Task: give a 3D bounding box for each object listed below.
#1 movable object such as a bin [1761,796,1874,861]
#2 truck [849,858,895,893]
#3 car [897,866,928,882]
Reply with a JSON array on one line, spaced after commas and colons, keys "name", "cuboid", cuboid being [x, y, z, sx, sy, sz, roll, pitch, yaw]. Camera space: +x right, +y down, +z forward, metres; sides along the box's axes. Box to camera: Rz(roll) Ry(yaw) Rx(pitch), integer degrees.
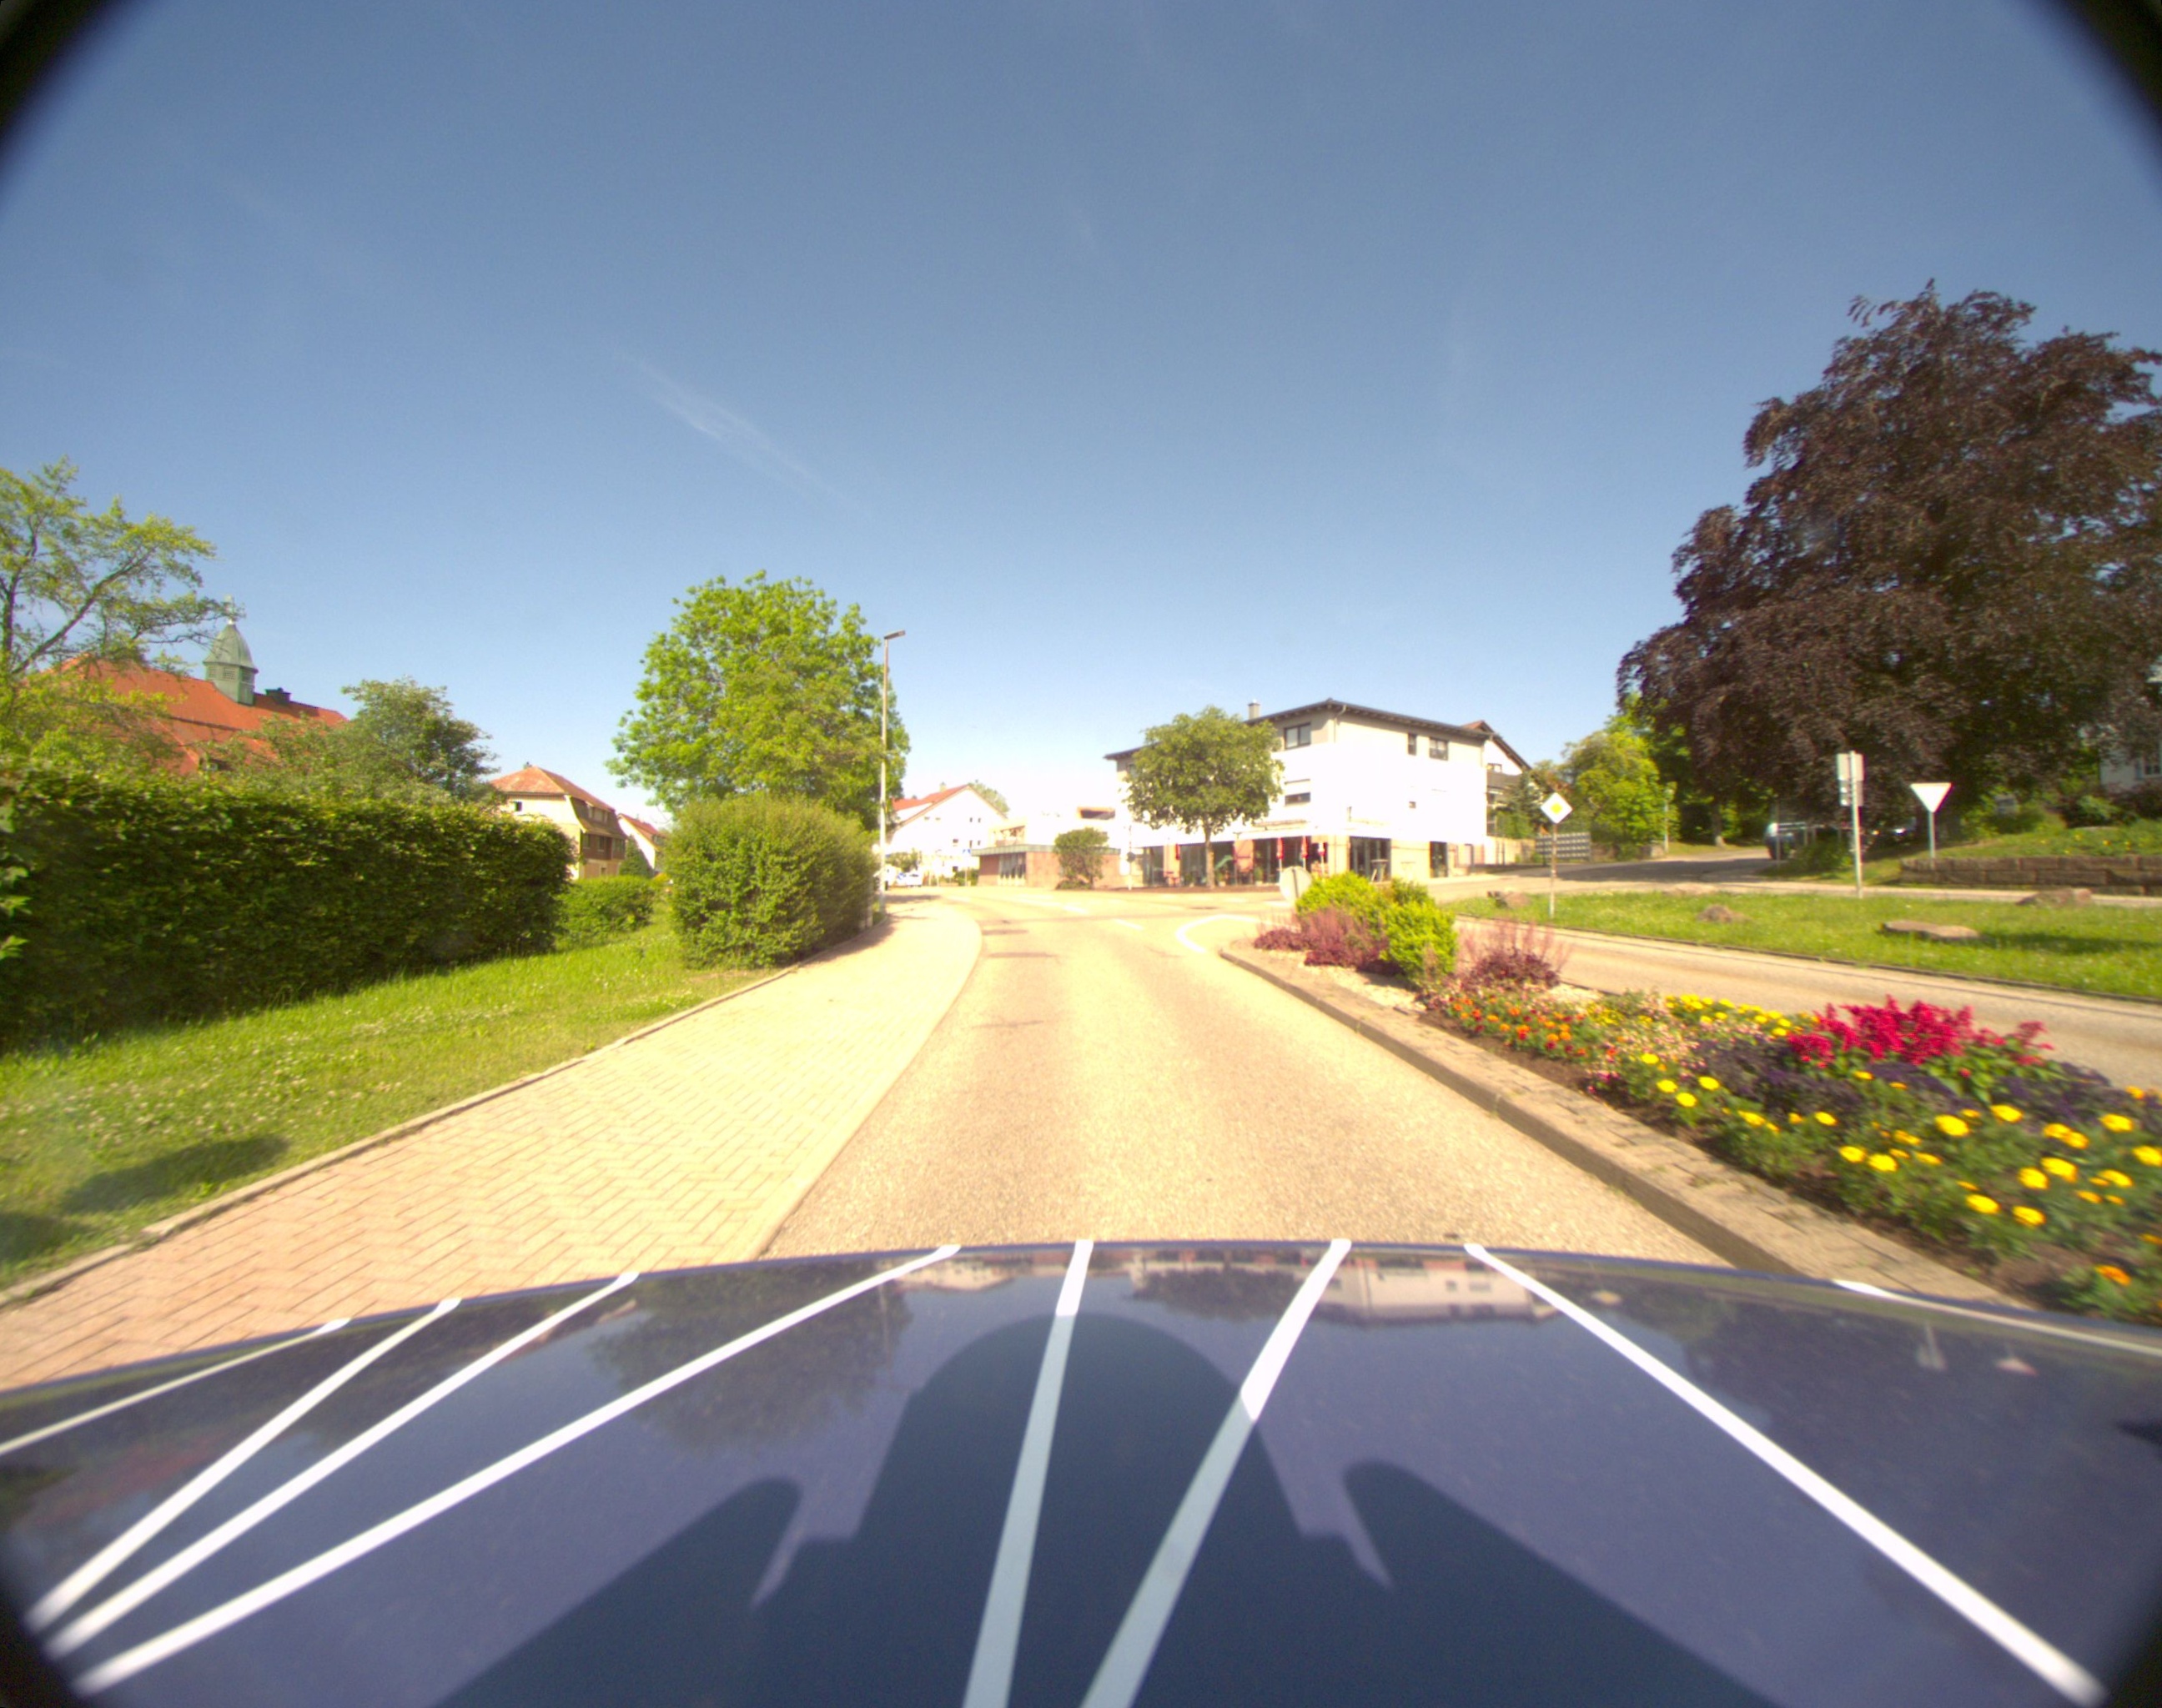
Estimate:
[{"name": "movable object such as a bin", "cuboid": [33.426, -1.146, 34.473, 5.111, 2.753, 1.996, -2, 0, -26]}, {"name": "truck", "cuboid": [-15.632, 1.649, 56.572, 2.002, 2.327, 6.483, -3, -1, -26]}, {"name": "car", "cuboid": [-17.330, 2.045, 78.127, 1.779, 1.459, 3.705, -3, 0, -34]}]
